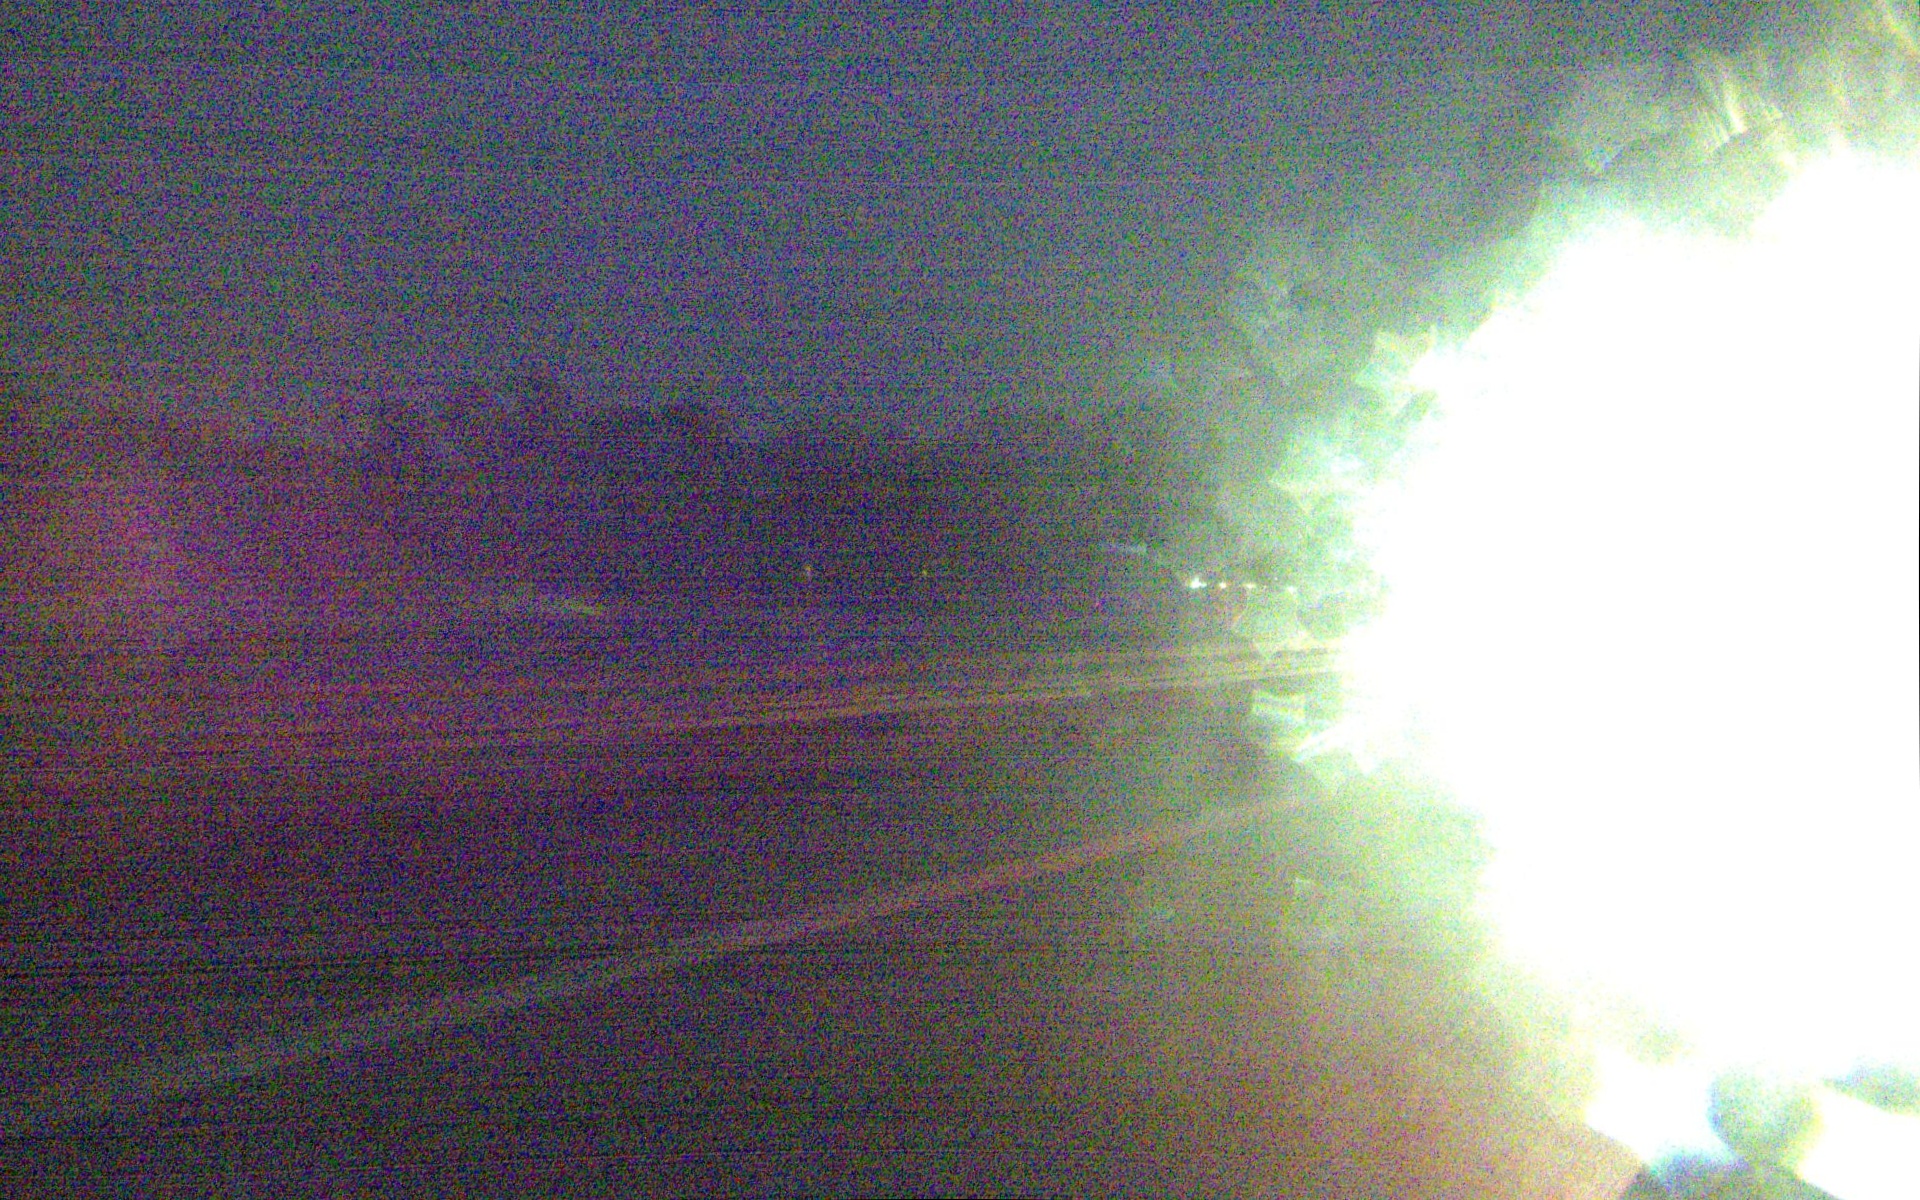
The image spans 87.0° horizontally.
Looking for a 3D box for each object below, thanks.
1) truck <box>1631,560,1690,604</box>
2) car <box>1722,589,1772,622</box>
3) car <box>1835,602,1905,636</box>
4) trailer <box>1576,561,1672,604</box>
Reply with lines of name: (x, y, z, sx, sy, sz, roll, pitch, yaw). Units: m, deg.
truck: (71.235, -1.818, 103.028, 2.495, 4.391, 5.557, 0, 1, 5)
car: (42.389, 0.317, 54.547, 1.729, 1.705, 4.072, 0, -1, 33)
car: (38.987, 0.789, 43.436, 1.750, 1.328, 4.034, 1, 0, 35)
trailer: (71.782, -1.913, 109.905, 2.495, 4.391, 13.693, 0, 1, 5)
